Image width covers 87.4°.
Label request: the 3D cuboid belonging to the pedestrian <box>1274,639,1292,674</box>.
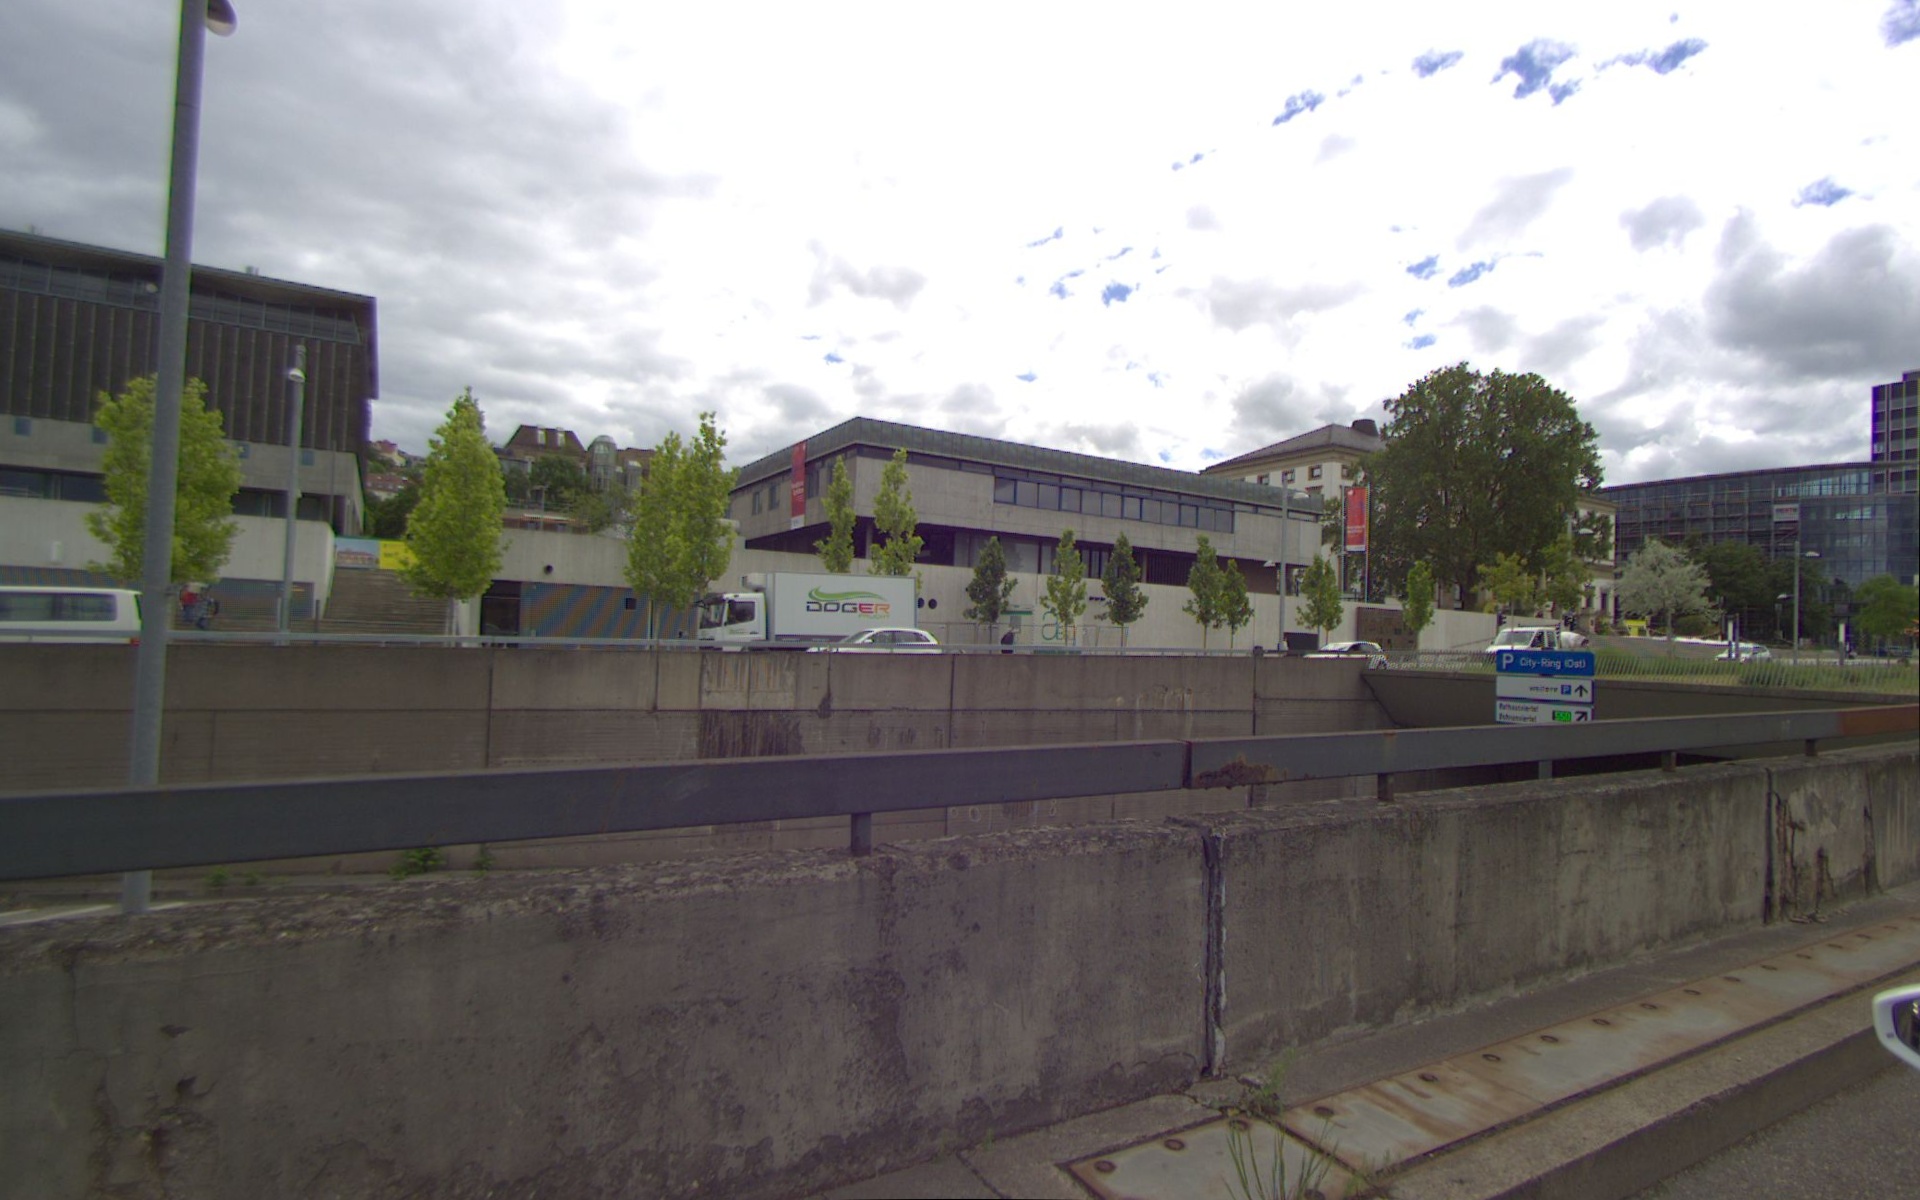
[{"bbox_3d":[16.161,2.819,50.285,0.655,1.757,0.537,1,0,-30],"label":"pedestrian"}]

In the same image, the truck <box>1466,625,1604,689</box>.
[{"bbox_3d":[27.547,2.678,48.043,6.991,2.854,2.453,1,-1,-29],"label":"truck"}]

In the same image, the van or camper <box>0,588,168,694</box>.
[{"bbox_3d":[-18.964,0.799,20.179,4.503,2.040,1.984,1,-1,-30],"label":"van or camper"}]

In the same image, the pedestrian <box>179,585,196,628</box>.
[{"bbox_3d":[-28.293,0.236,36.792,0.457,1.542,0.377,2,0,-36],"label":"pedestrian"}]

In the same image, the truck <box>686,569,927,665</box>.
[{"bbox_3d":[-4.988,0.584,33.016,7.171,2.825,3.214,1,-1,-32],"label":"truck"}]

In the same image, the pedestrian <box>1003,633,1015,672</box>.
[{"bbox_3d":[1.985,2.123,40.746,0.314,1.542,0.315,2,0,-36],"label":"pedestrian"}]

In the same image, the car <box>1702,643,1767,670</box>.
[{"bbox_3d":[50.233,3.638,65.118,4.556,1.595,1.711,1,-1,-29],"label":"car"}]

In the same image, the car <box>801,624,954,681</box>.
[{"bbox_3d":[-2.439,1.529,29.898,4.218,1.595,1.711,1,-1,-29],"label":"car"}]

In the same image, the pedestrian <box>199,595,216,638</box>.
[{"bbox_3d":[-27.126,0.583,36.214,0.457,1.542,0.377,2,0,-36],"label":"pedestrian"}]

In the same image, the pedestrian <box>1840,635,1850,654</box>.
[{"bbox_3d":[79.241,3.957,89.939,0.643,1.671,0.521,2,0,-31],"label":"pedestrian"}]

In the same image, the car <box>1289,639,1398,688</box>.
[{"bbox_3d":[15.748,2.560,41.179,4.208,1.840,1.984,1,-1,-30],"label":"car"}]
